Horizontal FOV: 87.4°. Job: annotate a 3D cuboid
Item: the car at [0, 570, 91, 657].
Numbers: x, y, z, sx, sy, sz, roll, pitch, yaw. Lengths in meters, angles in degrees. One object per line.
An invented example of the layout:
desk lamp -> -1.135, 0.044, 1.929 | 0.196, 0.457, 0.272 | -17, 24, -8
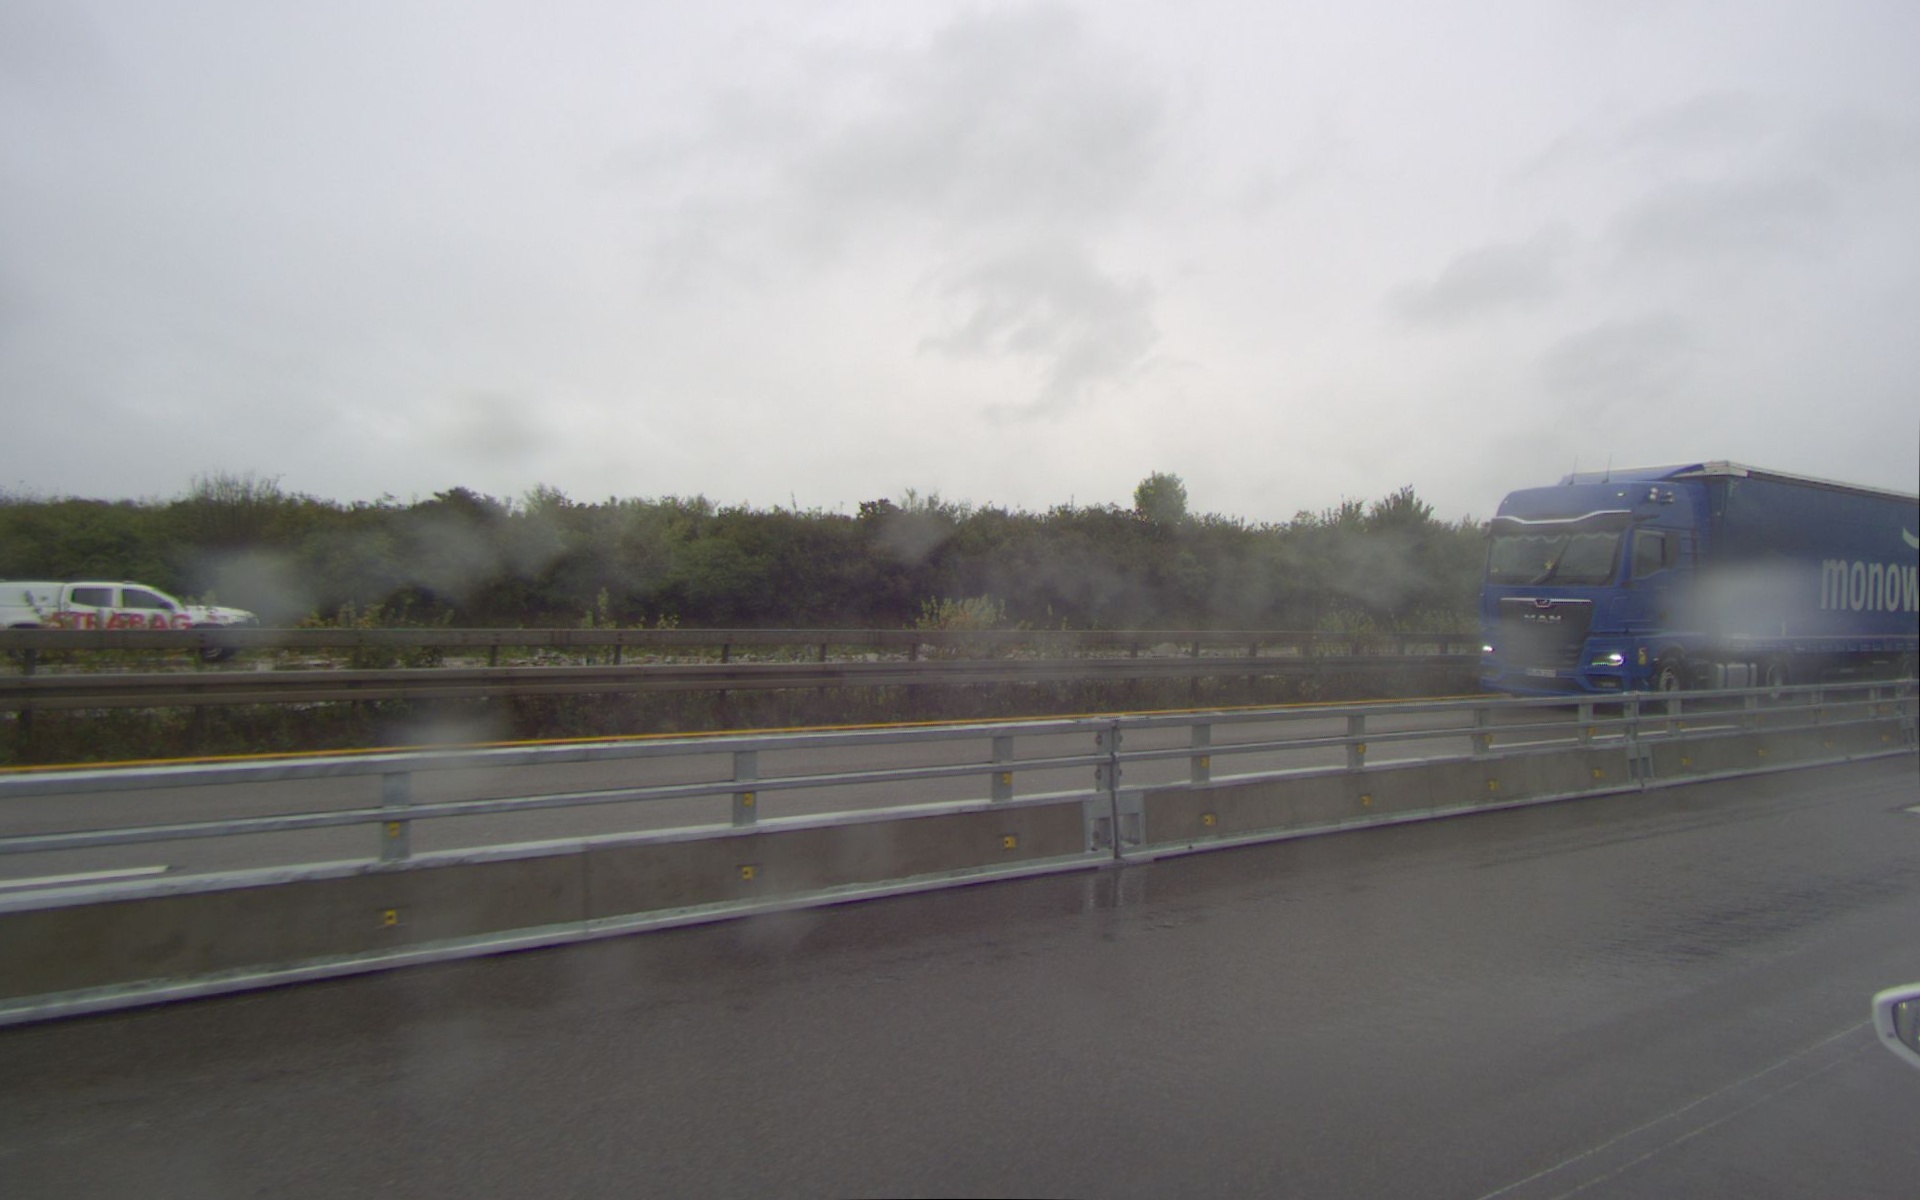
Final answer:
car -> -25.644, 0.301, 25.078 | 5.477, 2.104, 2.367 | 1, 0, -9

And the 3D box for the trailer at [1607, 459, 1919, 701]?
trailer -> 18.526, -0.216, 21.323 | 12.282, 4.132, 2.588 | 1, 0, -29

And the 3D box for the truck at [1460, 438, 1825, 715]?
truck -> 12.142, -0.326, 17.751 | 6.586, 4.136, 2.612 | 1, 0, -29

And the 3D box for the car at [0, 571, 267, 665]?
car -> -19.269, 0.410, 23.080 | 5.302, 1.992, 2.083 | 1, 0, -31
